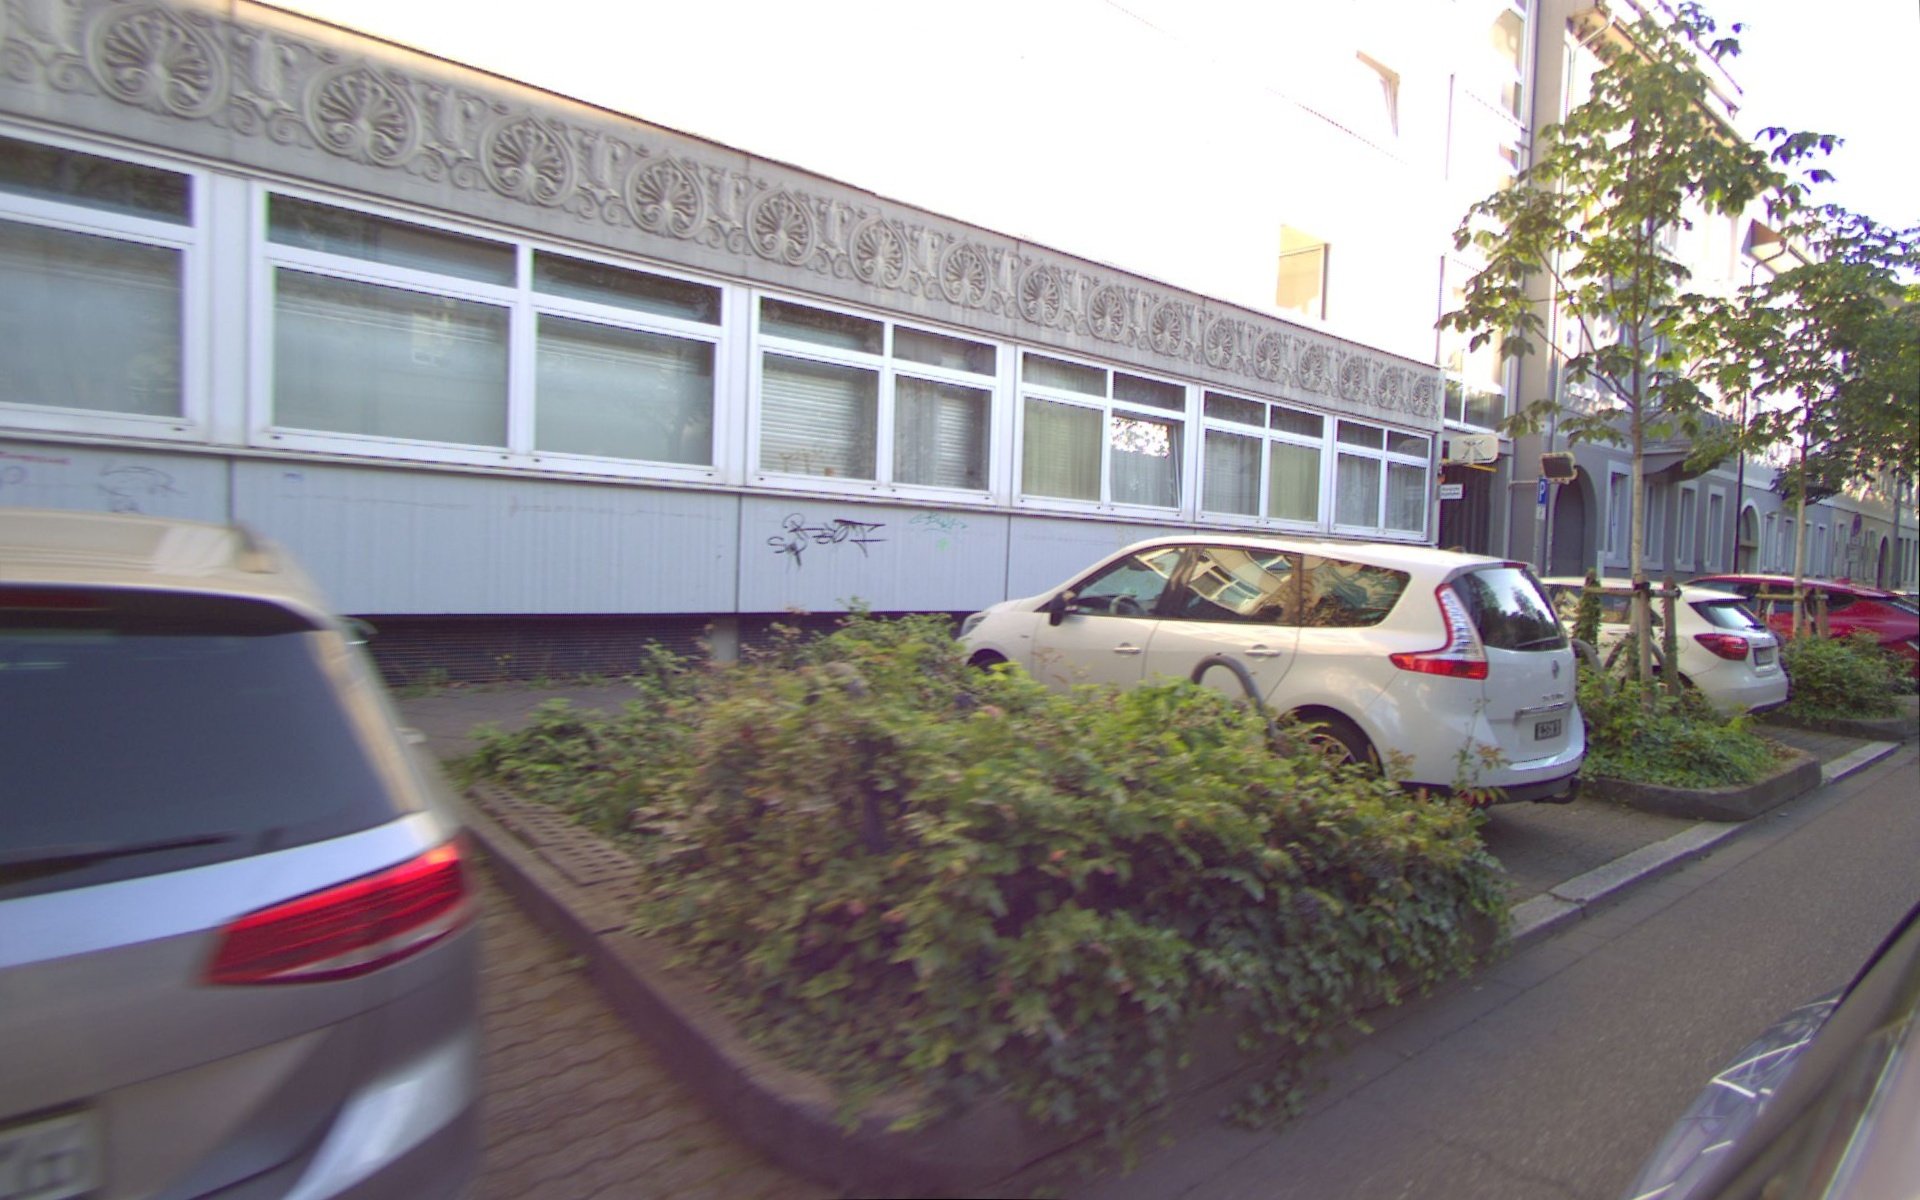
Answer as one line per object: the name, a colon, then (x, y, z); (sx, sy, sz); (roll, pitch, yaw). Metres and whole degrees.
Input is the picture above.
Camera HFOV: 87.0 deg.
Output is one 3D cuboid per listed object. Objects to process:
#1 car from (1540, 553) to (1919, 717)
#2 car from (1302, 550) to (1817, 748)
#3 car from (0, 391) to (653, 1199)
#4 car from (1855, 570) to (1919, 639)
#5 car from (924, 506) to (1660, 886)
car: (10.483, 0.346, 13.486); (1.703, 1.643, 4.368); (0, 5, -41)
car: (6.215, 0.341, 10.954); (1.854, 1.511, 4.368); (0, 5, -41)
car: (-2.495, 0.313, 2.780); (1.642, 1.512, 4.371); (0, 6, -38)
car: (27.787, 0.242, 27.892); (1.703, 1.799, 4.368); (0, 5, -41)
car: (1.923, 0.300, 7.019); (2.018, 1.661, 4.369); (0, 5, -41)
